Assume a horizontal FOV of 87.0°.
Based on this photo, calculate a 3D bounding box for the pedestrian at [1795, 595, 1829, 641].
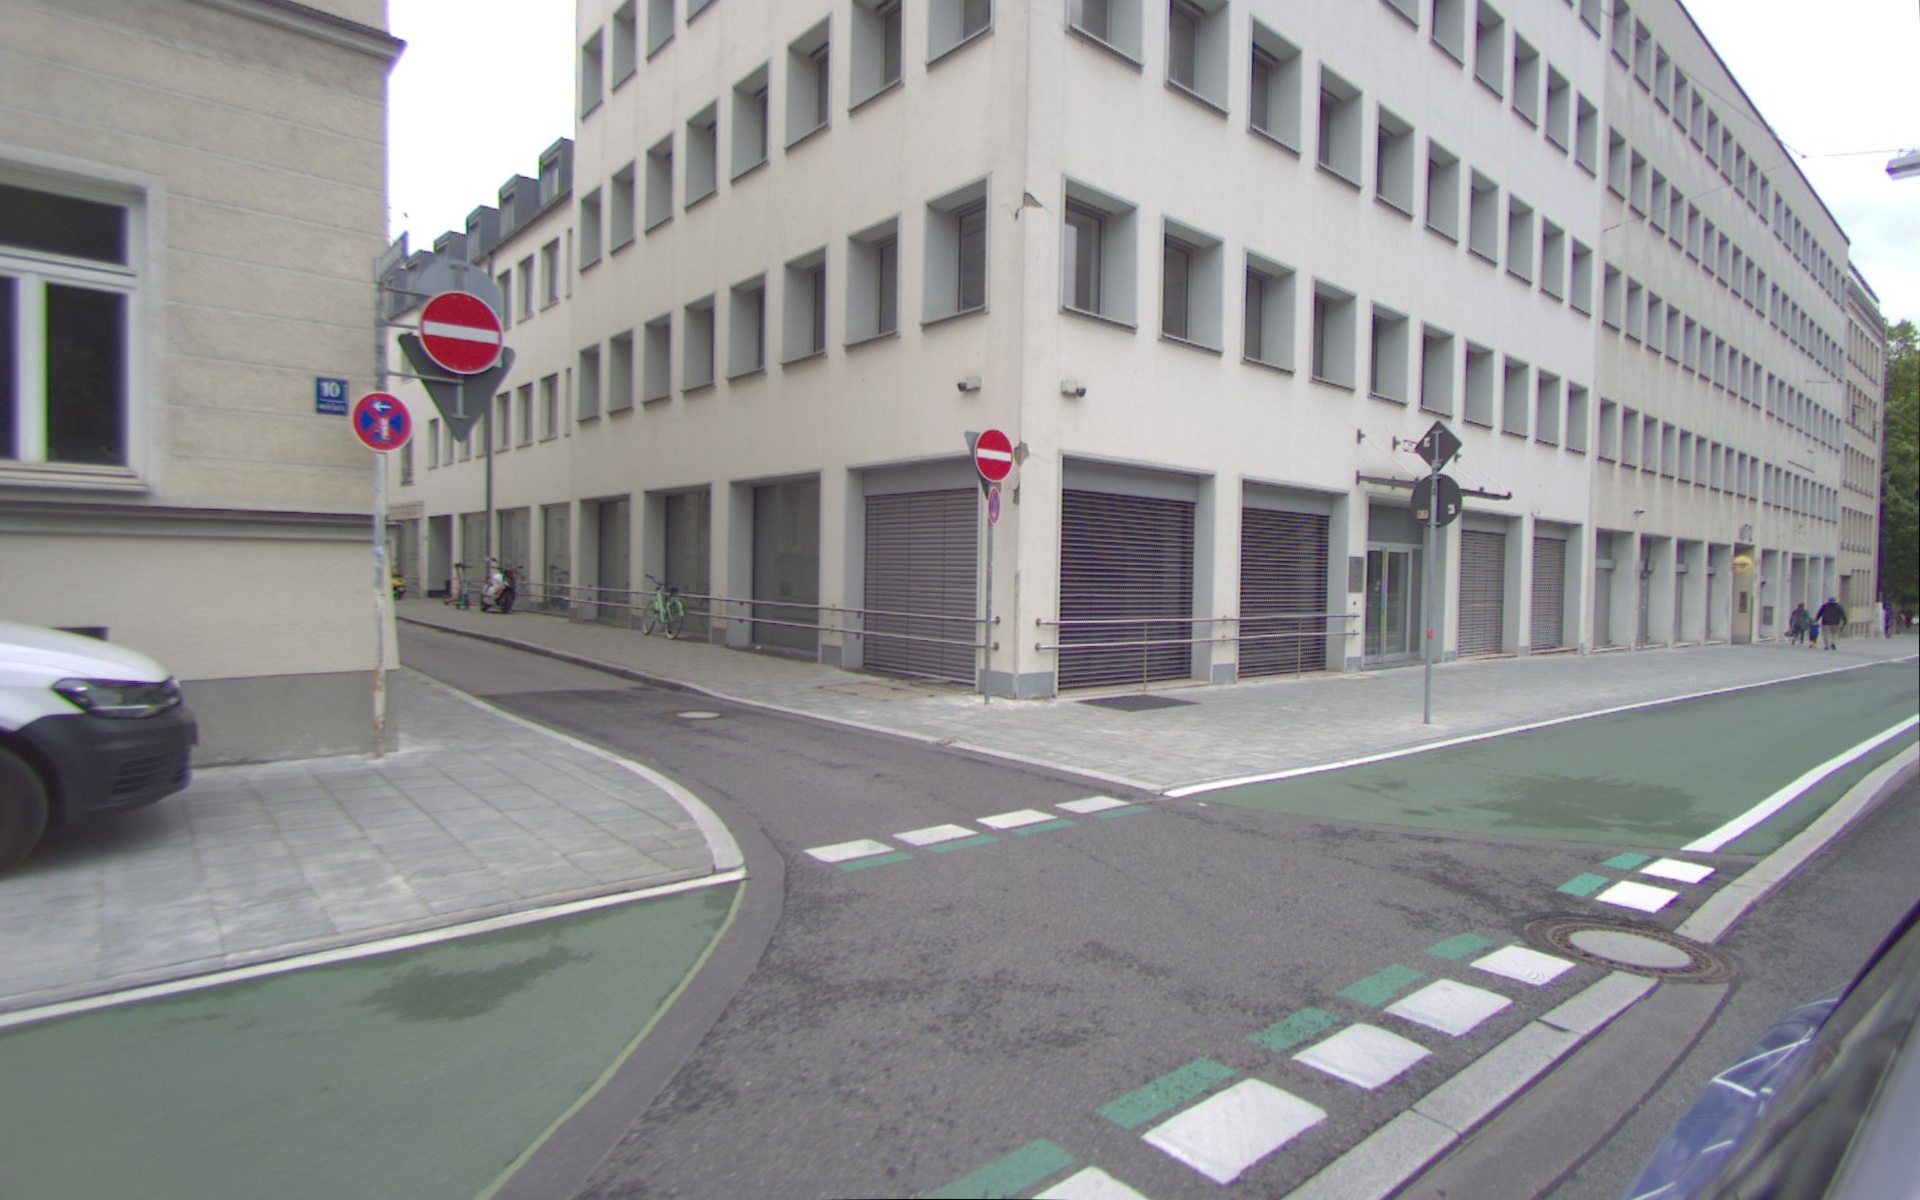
[{"bbox_3d":[32.236,0.663,38.311,0.691,1.638,0.754,0,5,-41],"label":"pedestrian"}]

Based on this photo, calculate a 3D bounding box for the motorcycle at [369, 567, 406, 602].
[{"bbox_3d":[-20.166,-0.563,35.645,0.619,1.208,2.538,0,1,-41],"label":"motorcycle"}]

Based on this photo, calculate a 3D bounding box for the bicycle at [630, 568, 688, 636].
[{"bbox_3d":[-5.657,0.023,18.955,0.304,1.222,1.772,0,1,-42],"label":"bicycle"}]

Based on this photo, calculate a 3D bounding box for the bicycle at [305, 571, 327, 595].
[{"bbox_3d":[-27.595,-0.737,43.356,1.768,1.029,0.305,1,1,42],"label":"bicycle"}]

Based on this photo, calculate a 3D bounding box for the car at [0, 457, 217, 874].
[{"bbox_3d":[-5.715,0.243,4.007,4.357,1.771,1.737,0,3,-41],"label":"car"}]

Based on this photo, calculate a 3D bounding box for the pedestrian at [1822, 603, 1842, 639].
[{"bbox_3d":[31.558,0.749,36.621,0.461,1.261,0.368,0,5,-41],"label":"pedestrian"}]

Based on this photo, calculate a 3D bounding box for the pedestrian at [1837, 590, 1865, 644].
[{"bbox_3d":[31.950,0.605,36.283,0.591,1.857,0.514,0,5,-41],"label":"pedestrian"}]

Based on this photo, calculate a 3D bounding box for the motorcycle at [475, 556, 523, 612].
[{"bbox_3d":[-12.223,-0.433,26.786,0.715,1.398,2.706,1,1,-34],"label":"motorcycle"}]

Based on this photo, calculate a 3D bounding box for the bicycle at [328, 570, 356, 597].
[{"bbox_3d":[-24.709,-0.662,40.445,1.767,1.029,0.399,1,1,40],"label":"bicycle"}]

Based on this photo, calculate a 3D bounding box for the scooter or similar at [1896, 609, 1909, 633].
[{"bbox_3d":[53.214,1.178,57.150,1.100,1.288,0.387,-1,4,-42],"label":"scooter or similar"}]

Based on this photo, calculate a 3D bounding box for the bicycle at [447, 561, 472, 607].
[{"bbox_3d":[-14.158,-0.437,28.605,0.397,1.272,1.775,0,-1,-34],"label":"bicycle"}]
